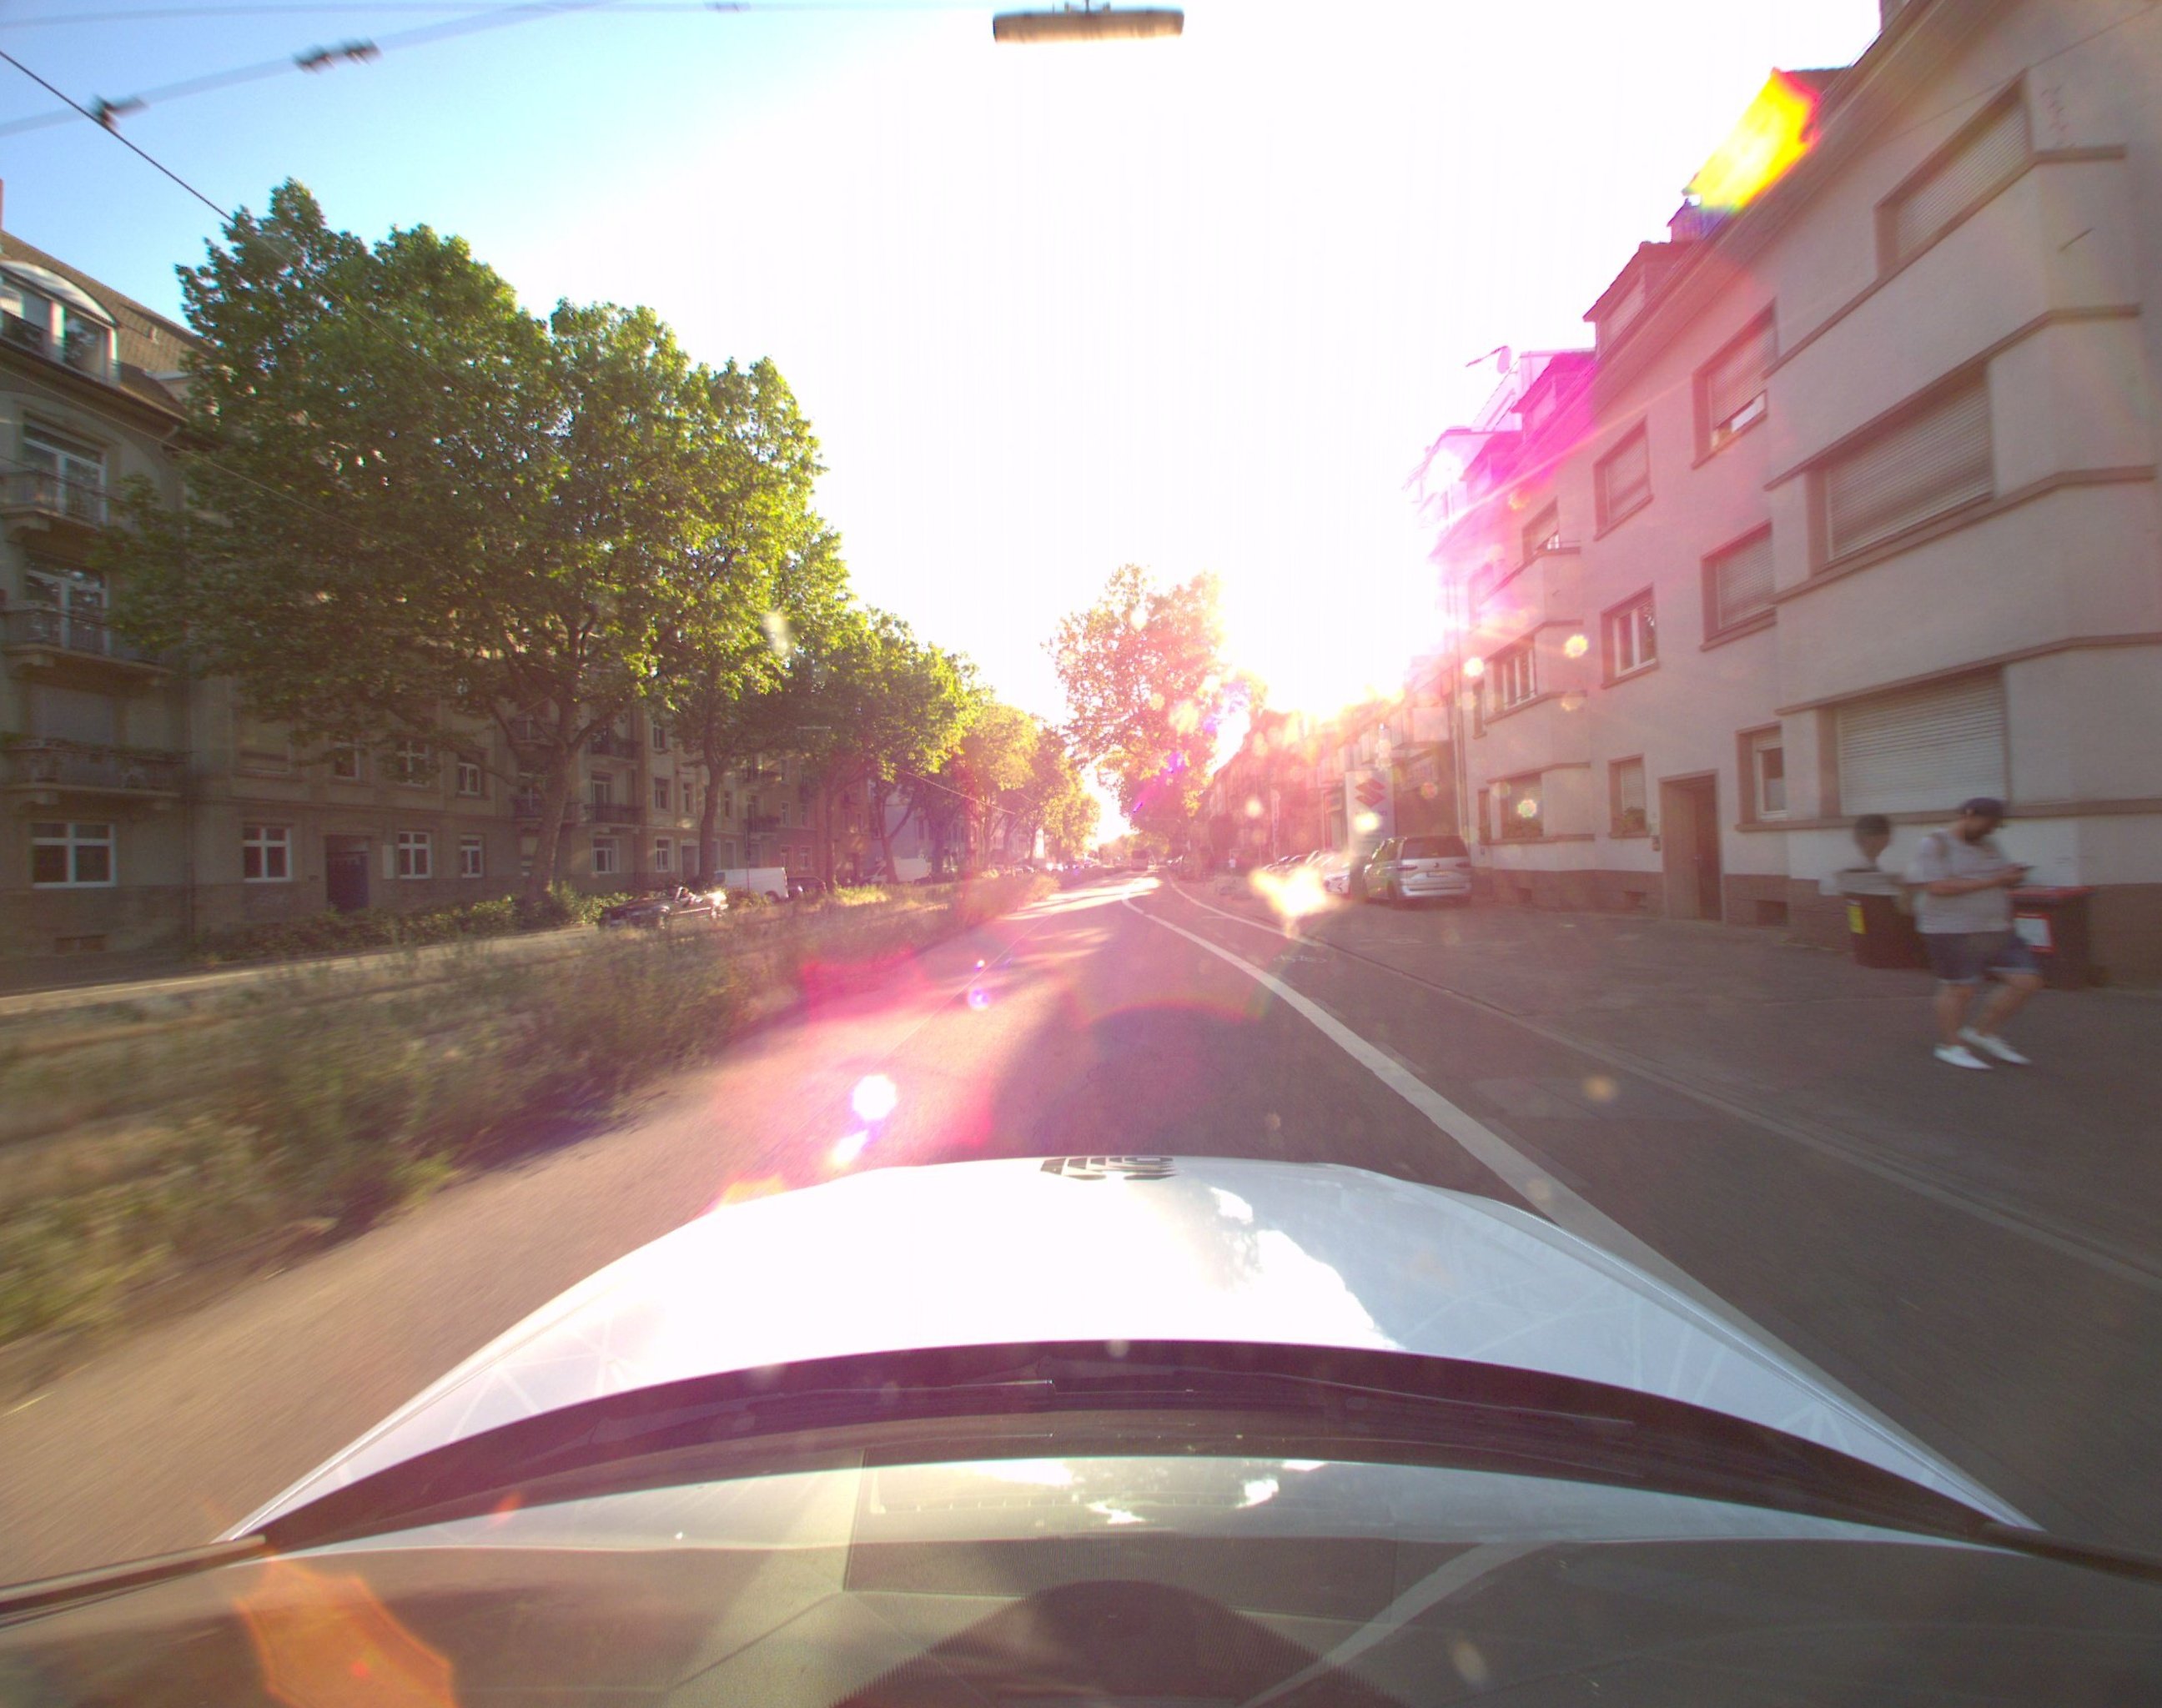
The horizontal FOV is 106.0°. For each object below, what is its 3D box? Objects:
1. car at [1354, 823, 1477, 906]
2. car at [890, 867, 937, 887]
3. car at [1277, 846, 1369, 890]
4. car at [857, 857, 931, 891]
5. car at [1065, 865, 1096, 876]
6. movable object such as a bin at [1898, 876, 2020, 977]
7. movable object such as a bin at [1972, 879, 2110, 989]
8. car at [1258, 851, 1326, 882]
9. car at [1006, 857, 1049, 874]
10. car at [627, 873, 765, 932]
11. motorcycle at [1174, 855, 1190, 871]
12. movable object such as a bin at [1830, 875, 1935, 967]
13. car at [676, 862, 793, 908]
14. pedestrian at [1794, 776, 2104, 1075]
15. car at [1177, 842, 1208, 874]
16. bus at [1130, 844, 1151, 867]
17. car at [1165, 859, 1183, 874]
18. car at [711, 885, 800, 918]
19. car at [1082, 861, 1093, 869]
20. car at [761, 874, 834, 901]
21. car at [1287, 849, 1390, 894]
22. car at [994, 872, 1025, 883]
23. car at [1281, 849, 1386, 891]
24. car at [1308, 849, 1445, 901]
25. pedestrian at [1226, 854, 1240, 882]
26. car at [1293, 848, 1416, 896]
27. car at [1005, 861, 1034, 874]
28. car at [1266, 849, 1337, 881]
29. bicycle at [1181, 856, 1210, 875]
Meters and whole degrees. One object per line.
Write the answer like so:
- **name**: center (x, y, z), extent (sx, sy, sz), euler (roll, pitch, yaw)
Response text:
- **car**: center (8.980, 0.306, 22.319), extent (1.882, 1.948, 4.911), euler (-3, -1, 8)
- **car**: center (-14.968, 2.043, 72.888), extent (3.718, 1.466, 1.721), euler (-4, 0, -27)
- **car**: center (10.587, 0.581, 35.820), extent (3.561, 1.720, 1.685), euler (-3, 1, 7)
- **car**: center (-15.395, 1.627, 67.152), extent (5.534, 2.529, 2.102), euler (-2, -1, -37)
- **car**: center (-0.039, 2.631, 130.368), extent (4.733, 1.694, 1.879), euler (-3, -1, 8)
- **movable object such as a bin**: center (8.870, 0.717, 8.251), extent (0.551, 0.969, 0.586), euler (-2, -1, 7)
- **movable object such as a bin**: center (8.962, 0.732, 7.627), extent (0.551, 0.969, 0.586), euler (-2, -1, 7)
- **car**: center (11.704, 0.693, 45.249), extent (3.404, 1.546, 1.443), euler (-2, -1, 2)
- **car**: center (-9.202, 2.022, 139.497), extent (6.951, 2.678, 2.174), euler (-2, -1, -16)
- **car**: center (-11.984, 1.453, 25.777), extent (1.708, 1.486, 4.706), euler (-5, -1, 5)
- **motorcycle**: center (9.414, 0.827, 75.715), extent (0.823, 1.398, 2.373), euler (-4, 0, -7)
- **movable object such as a bin**: center (8.903, 0.732, 9.065), extent (0.551, 0.969, 0.586), euler (-2, -1, 7)
- **car**: center (-17.823, 1.565, 42.026), extent (5.271, 2.066, 1.702), euler (-2, -1, -37)
- **pedestrian**: center (5.854, 0.450, 5.605), extent (0.825, 1.812, 1.151), euler (-2, -1, 4)
- **car**: center (8.418, 0.351, 61.829), extent (1.984, 2.257, 5.241), euler (-2, -1, 4)
- **bus**: center (9.014, 0.314, 124.187), extent (2.822, 3.236, 8.188), euler (-2, -1, 3)
- **car**: center (11.723, 1.603, 102.336), extent (1.732, 1.770, 4.409), euler (-3, -1, 12)
- **car**: center (-17.909, 2.580, 44.883), extent (4.196, 1.491, 1.702), euler (-2, -1, -37)
- **car**: center (1.328, 2.170, 164.077), extent (1.781, 1.574, 4.006), euler (-3, -1, 6)
- **car**: center (-16.941, 1.989, 48.650), extent (3.746, 1.422, 1.702), euler (-2, -1, -37)
- **car**: center (9.921, 0.669, 31.523), extent (3.406, 1.525, 1.741), euler (-2, 0, 1)
- **car**: center (-10.094, 3.265, 114.384), extent (4.008, 1.356, 1.572), euler (-2, -1, -27)
- **car**: center (10.406, 0.661, 33.784), extent (3.803, 1.540, 1.861), euler (-2, 0, 3)
- **car**: center (9.696, 0.653, 26.943), extent (3.799, 1.501, 1.913), euler (-2, 1, -1)
- **pedestrian**: center (8.948, 0.823, 48.039), extent (0.660, 1.629, 0.924), euler (-2, -1, 5)
- **car**: center (9.854, 0.639, 29.519), extent (3.852, 1.514, 1.811), euler (-2, 0, 3)
- **car**: center (-9.350, 2.035, 123.690), extent (4.009, 1.699, 1.840), euler (-4, 0, -27)
- **car**: center (11.642, 0.602, 43.175), extent (3.400, 1.519, 1.760), euler (-3, -1, 7)
- **bicycle**: center (7.485, 0.760, 53.181), extent (1.836, 1.143, 0.349), euler (-2, -1, 4)
